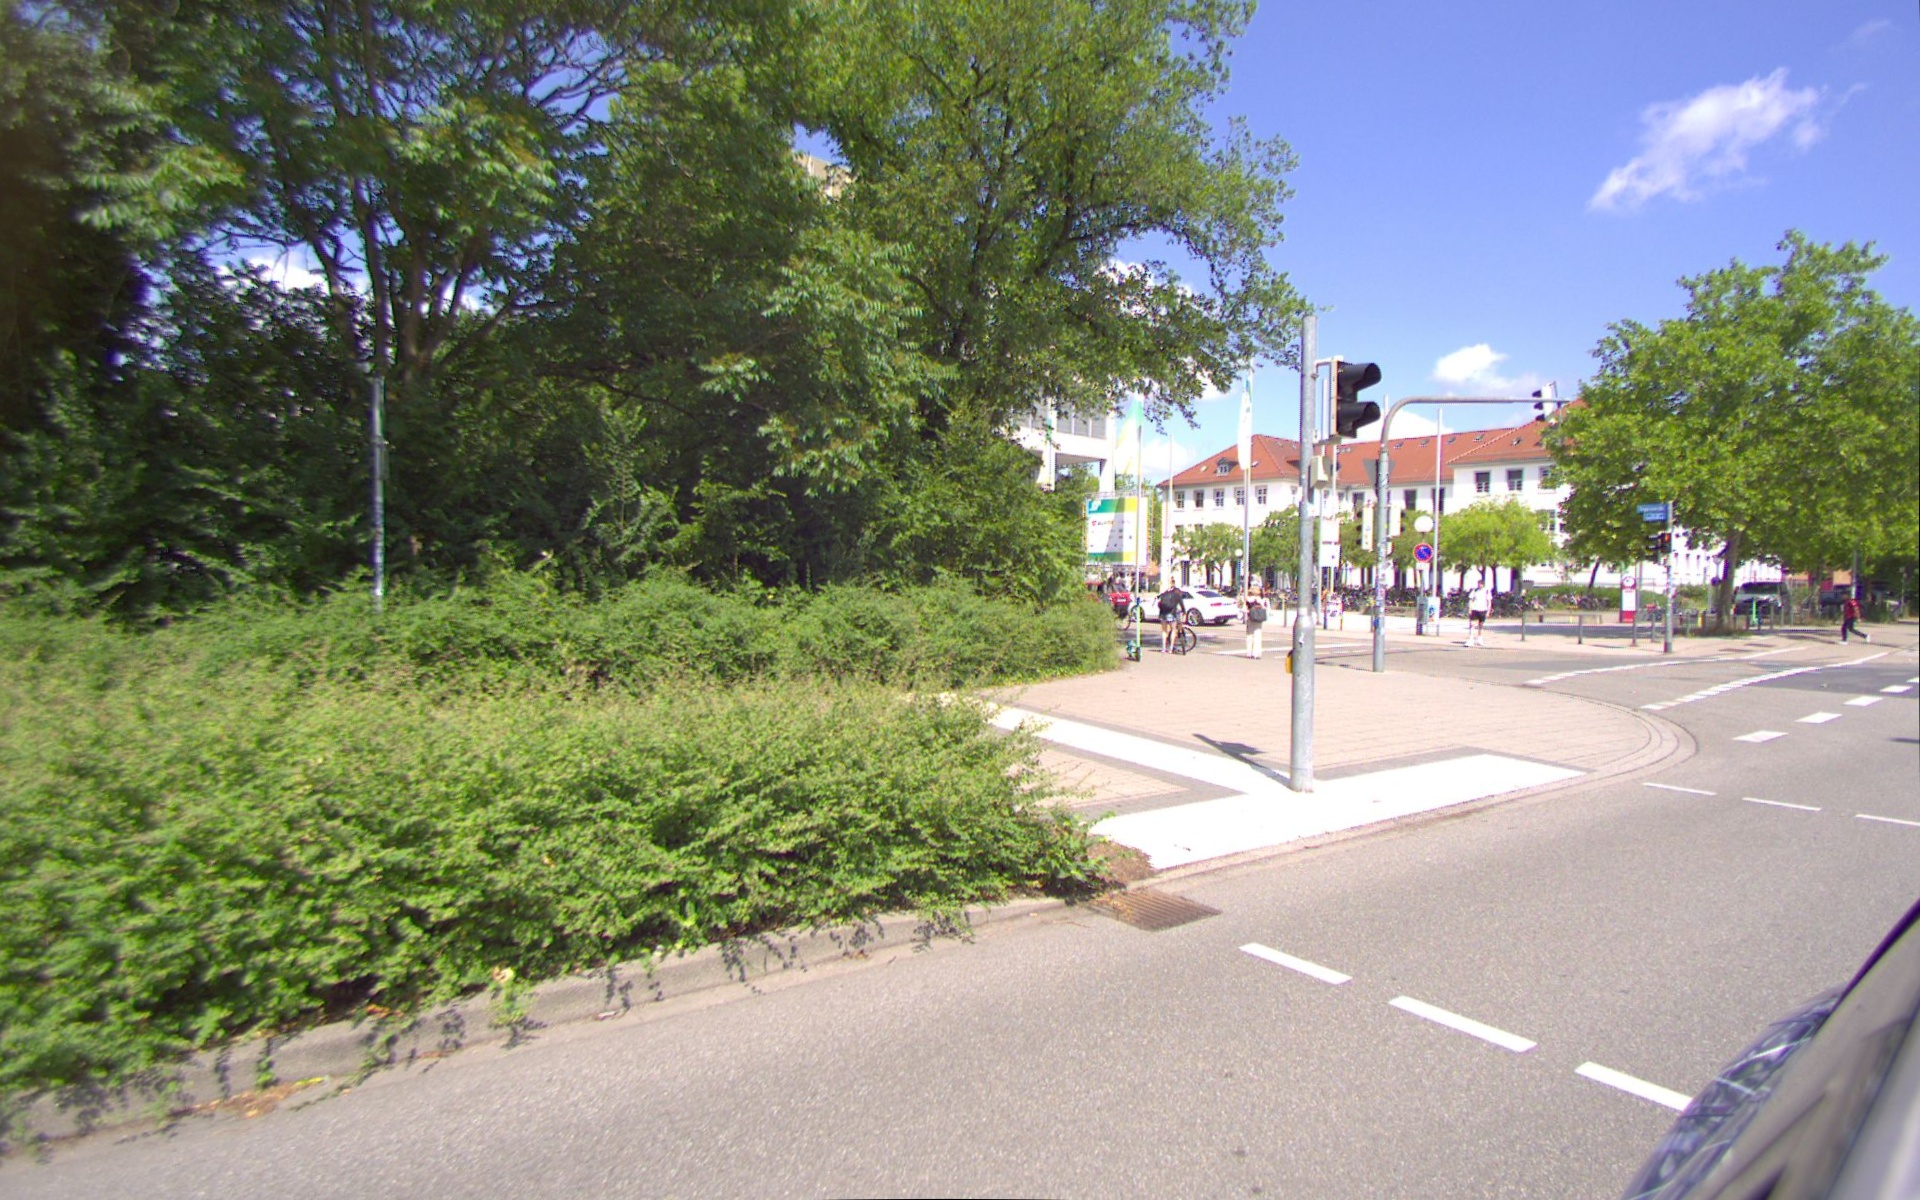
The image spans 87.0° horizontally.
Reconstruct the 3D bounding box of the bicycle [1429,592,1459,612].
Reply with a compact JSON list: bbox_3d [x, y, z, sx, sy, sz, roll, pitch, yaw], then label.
[{"bbox_3d":[24.688,0.088,51.664,0.346,1.013,1.369,0,1,-42],"label":"bicycle"}]

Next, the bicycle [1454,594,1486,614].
[{"bbox_3d":[24.991,0.172,49.623,0.346,0.958,1.369,0,1,-42],"label":"bicycle"}]

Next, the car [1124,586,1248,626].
[{"bbox_3d":[8.536,0.175,38.576,1.802,1.415,4.435,0,1,-41],"label":"car"}]

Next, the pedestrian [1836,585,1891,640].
[{"bbox_3d":[27.065,0.346,30.340,1.055,1.617,0.961,0,1,31],"label":"pedestrian"}]

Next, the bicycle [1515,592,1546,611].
[{"bbox_3d":[29.870,0.063,52.987,0.346,0.963,1.369,0,1,-42],"label":"bicycle"}]

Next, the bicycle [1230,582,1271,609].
[{"bbox_3d":[12.455,-0.202,43.414,0.676,1.148,2.058,0,1,-16],"label":"bicycle"}]

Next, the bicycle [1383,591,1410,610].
[{"bbox_3d":[23.290,0.033,54.037,0.345,0.963,1.372,0,1,-33],"label":"bicycle"}]

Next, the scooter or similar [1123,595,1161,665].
[{"bbox_3d":[3.405,0.541,19.030,0.429,1.249,1.231,2,1,-1],"label":"scooter or similar"}]

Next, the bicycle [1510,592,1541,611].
[{"bbox_3d":[29.371,0.091,52.573,0.346,0.963,1.369,0,1,-42],"label":"bicycle"}]

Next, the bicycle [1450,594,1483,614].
[{"bbox_3d":[24.613,0.189,49.197,0.346,0.963,1.369,0,1,-42],"label":"bicycle"}]

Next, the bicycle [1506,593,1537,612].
[{"bbox_3d":[28.906,0.123,52.131,0.346,0.963,1.369,0,1,-42],"label":"bicycle"}]

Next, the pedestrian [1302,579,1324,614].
[{"bbox_3d":[16.709,-0.161,47.920,0.670,1.642,0.837,0,1,-11],"label":"pedestrian"}]

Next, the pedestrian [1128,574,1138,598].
[{"bbox_3d":[13.503,-1.106,79.136,0.666,1.926,0.797,0,1,19],"label":"pedestrian"}]

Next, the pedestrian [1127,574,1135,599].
[{"bbox_3d":[11.845,-0.941,70.203,0.467,1.735,0.380,0,1,20],"label":"pedestrian"}]

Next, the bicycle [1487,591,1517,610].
[{"bbox_3d":[29.276,0.021,54.685,0.346,0.963,1.410,0,1,-42],"label":"bicycle"}]

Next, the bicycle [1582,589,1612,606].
[{"bbox_3d":[36.961,-0.136,58.692,0.346,0.963,1.426,0,1,-42],"label":"bicycle"}]

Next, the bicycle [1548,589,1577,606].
[{"bbox_3d":[36.010,-0.161,60.491,0.346,0.963,1.426,0,1,-42],"label":"bicycle"}]

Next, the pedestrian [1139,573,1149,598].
[{"bbox_3d":[14.480,-1.125,79.460,0.666,1.926,0.797,0,1,19],"label":"pedestrian"}]

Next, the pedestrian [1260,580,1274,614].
[{"bbox_3d":[14.743,-0.131,48.659,0.528,1.610,0.436,0,0,0],"label":"pedestrian"}]

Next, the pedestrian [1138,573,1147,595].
[{"bbox_3d":[16.227,-1.397,89.811,0.666,1.926,0.797,0,1,19],"label":"pedestrian"}]

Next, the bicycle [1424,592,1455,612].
[{"bbox_3d":[24.312,0.106,51.336,0.346,1.013,1.369,0,1,-42],"label":"bicycle"}]

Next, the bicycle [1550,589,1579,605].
[{"bbox_3d":[36.298,-0.170,60.781,0.346,0.963,1.426,0,1,-42],"label":"bicycle"}]

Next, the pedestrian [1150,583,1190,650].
[{"bbox_3d":[4.674,0.362,22.538,0.643,1.435,0.788,3,0,-1],"label":"pedestrian"}]

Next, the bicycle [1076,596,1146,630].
[{"bbox_3d":[4.793,0.408,32.171,2.151,1.011,0.639,1,1,37],"label":"bicycle"}]

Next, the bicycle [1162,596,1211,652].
[{"bbox_3d":[5.045,0.516,22.632,0.659,1.157,1.663,2,0,0],"label":"bicycle"}]

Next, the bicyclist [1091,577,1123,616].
[{"bbox_3d":[4.685,-0.113,32.237,0.829,1.241,0.610,1,1,37],"label":"bicyclist"}]

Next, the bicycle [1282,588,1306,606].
[{"bbox_3d":[19.084,-0.176,57.854,0.345,0.963,1.372,0,1,-33],"label":"bicycle"}]

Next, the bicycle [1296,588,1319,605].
[{"bbox_3d":[20.072,-0.198,58.476,0.345,0.963,1.372,0,1,-33],"label":"bicycle"}]

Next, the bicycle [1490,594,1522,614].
[{"bbox_3d":[27.127,0.177,50.315,0.346,0.963,1.369,0,1,-42],"label":"bicycle"}]

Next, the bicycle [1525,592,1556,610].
[{"bbox_3d":[30.684,0.045,53.533,0.346,0.963,1.369,0,1,-42],"label":"bicycle"}]

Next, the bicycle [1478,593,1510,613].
[{"bbox_3d":[26.469,0.151,50.191,0.346,0.963,1.369,0,1,-42],"label":"bicycle"}]

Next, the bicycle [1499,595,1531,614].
[{"bbox_3d":[27.768,0.221,50.616,0.346,0.963,1.369,0,1,-42],"label":"bicycle"}]

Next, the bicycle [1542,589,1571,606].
[{"bbox_3d":[35.454,-0.149,60.140,0.346,0.963,1.426,0,1,-42],"label":"bicycle"}]

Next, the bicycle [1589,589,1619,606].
[{"bbox_3d":[37.810,-0.142,59.449,0.346,0.963,1.426,0,1,-42],"label":"bicycle"}]

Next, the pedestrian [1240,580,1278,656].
[{"bbox_3d":[6.571,0.392,22.275,0.633,1.647,0.636,0,1,-1],"label":"pedestrian"}]

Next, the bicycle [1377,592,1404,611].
[{"bbox_3d":[22.837,0.075,53.724,0.345,0.963,1.372,0,1,-33],"label":"bicycle"}]

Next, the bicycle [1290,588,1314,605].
[{"bbox_3d":[19.672,-0.190,58.169,0.345,0.963,1.372,0,1,-33],"label":"bicycle"}]

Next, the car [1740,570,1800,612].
[{"bbox_3d":[42.006,-0.476,52.463,1.994,2.080,4.161,1,1,45],"label":"car"}]

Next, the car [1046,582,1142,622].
[{"bbox_3d":[5.578,0.039,42.499,1.743,1.576,3.810,-1,1,-42],"label":"car"}]

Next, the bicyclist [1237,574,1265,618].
[{"bbox_3d":[12.447,-0.194,43.339,0.670,1.877,1.090,0,1,-15],"label":"bicyclist"}]

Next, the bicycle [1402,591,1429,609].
[{"bbox_3d":[25.507,-0.007,56.712,0.346,0.963,1.368,0,1,-45],"label":"bicycle"}]

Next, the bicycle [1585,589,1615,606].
[{"bbox_3d":[37.358,-0.130,59.102,0.346,0.963,1.426,0,1,-42],"label":"bicycle"}]

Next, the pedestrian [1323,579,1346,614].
[{"bbox_3d":[17.770,-0.167,48.053,0.670,1.642,0.837,0,1,-13],"label":"pedestrian"}]

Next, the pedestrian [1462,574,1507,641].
[{"bbox_3d":[15.261,0.195,29.419,0.955,1.896,0.877,0,0,-41],"label":"pedestrian"}]

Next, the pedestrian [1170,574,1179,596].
[{"bbox_3d":[14.769,-1.033,69.673,0.464,1.555,0.562,0,1,0],"label":"pedestrian"}]

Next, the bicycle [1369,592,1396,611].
[{"bbox_3d":[22.389,0.067,53.610,0.345,0.963,1.372,0,1,-33],"label":"bicycle"}]
